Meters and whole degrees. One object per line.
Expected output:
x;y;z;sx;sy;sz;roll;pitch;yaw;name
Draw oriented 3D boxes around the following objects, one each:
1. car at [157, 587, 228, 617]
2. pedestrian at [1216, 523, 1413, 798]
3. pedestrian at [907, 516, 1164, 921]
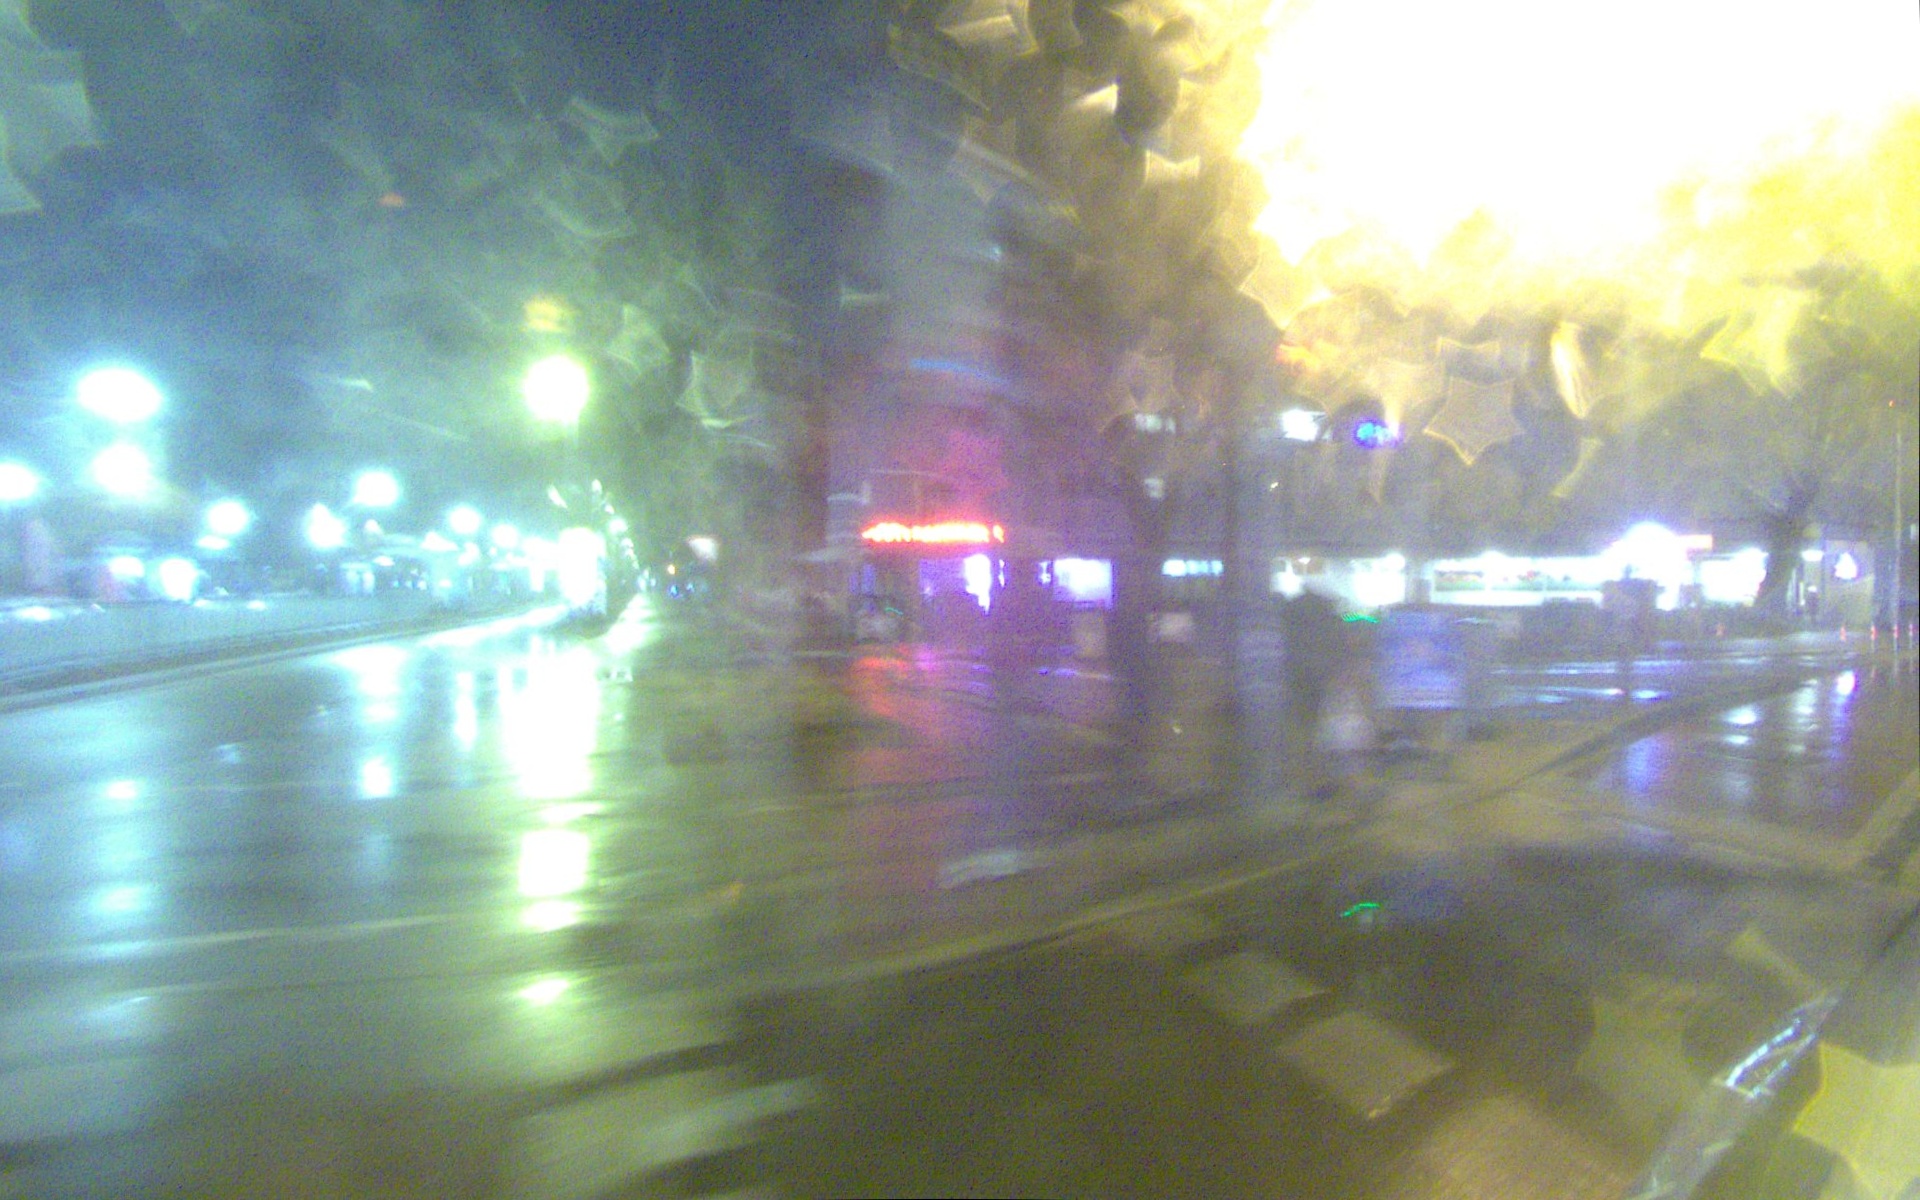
-43.247;0.051;57.149;1.882;1.599;4.599;-1;1;-20;car
2.609;0.398;7.500;0.835;1.848;1.110;0;1;-37;pedestrian
0.369;0.531;5.315;0.835;1.848;1.111;0;1;-35;pedestrian
